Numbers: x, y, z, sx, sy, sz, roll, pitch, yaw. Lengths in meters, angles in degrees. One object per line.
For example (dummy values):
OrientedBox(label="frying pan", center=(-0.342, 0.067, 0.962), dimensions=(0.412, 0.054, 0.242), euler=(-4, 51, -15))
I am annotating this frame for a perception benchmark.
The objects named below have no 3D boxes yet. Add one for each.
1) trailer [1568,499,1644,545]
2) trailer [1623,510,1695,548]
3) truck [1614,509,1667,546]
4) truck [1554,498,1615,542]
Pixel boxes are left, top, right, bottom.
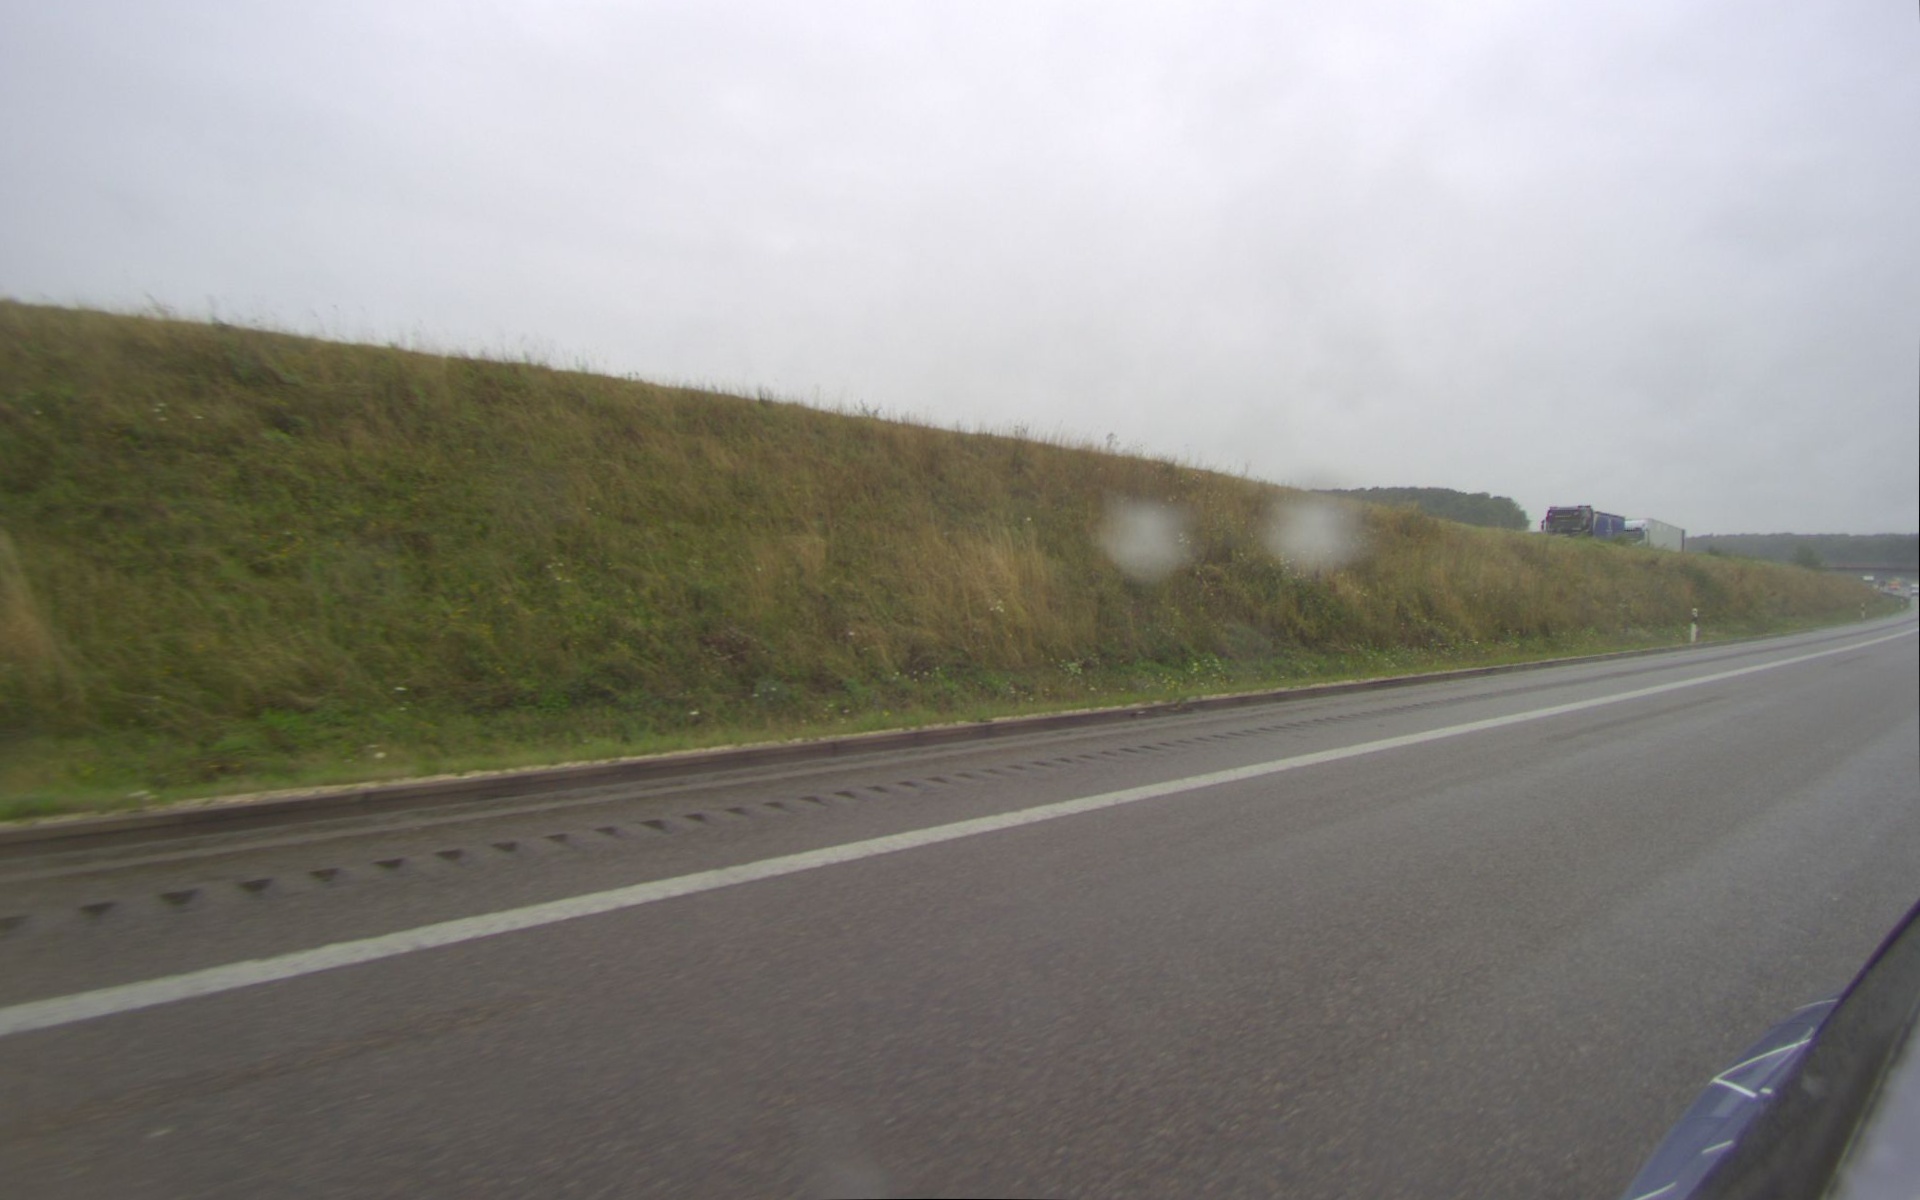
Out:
OrientedBox(label="trailer", center=(46.511, -5.523, 72.751), dimensions=(9.246, 2.790, 2.299), euler=(-1, 1, -43))
OrientedBox(label="trailer", center=(58.614, -5.806, 84.676), dimensions=(12.749, 2.636, 2.384), euler=(-1, 1, -44))
OrientedBox(label="truck", center=(54.183, -5.731, 80.504), dimensions=(4.995, 2.599, 2.427), euler=(-1, 1, -43))
OrientedBox(label="truck", center=(42.782, -5.415, 69.296), dimensions=(4.977, 2.637, 2.368), euler=(-1, 1, -43))
